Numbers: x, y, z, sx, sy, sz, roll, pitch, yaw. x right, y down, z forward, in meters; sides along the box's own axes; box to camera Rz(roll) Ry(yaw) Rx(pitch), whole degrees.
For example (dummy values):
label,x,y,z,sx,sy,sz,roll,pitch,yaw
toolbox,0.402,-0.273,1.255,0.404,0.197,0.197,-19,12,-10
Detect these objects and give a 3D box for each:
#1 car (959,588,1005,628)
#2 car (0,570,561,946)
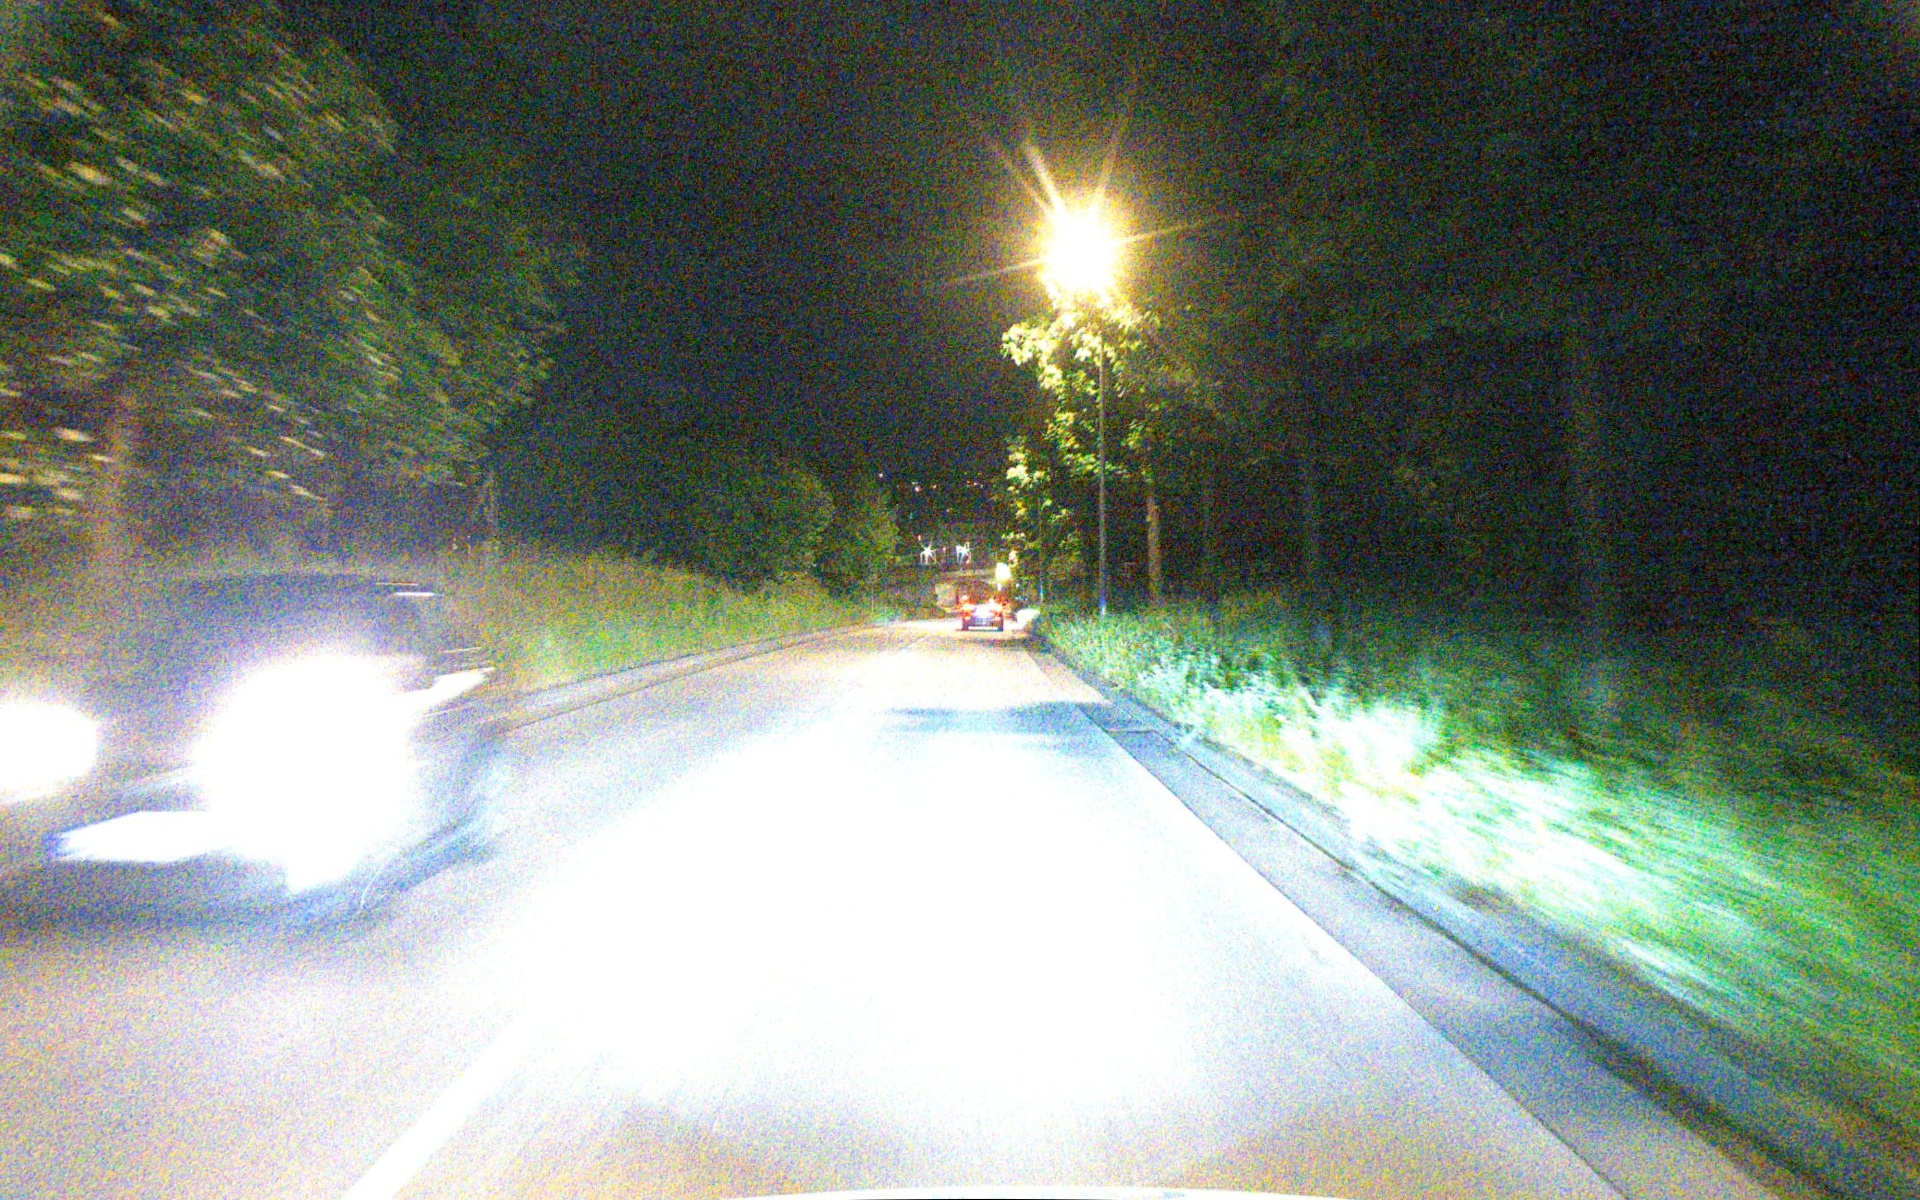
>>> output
label,x,y,z,sx,sy,sz,roll,pitch,yaw
car,0.921,0.331,71.166,1.728,1.670,3.720,0,0,-4
car,-3.263,0.630,8.505,1.614,1.517,3.557,1,0,-1
